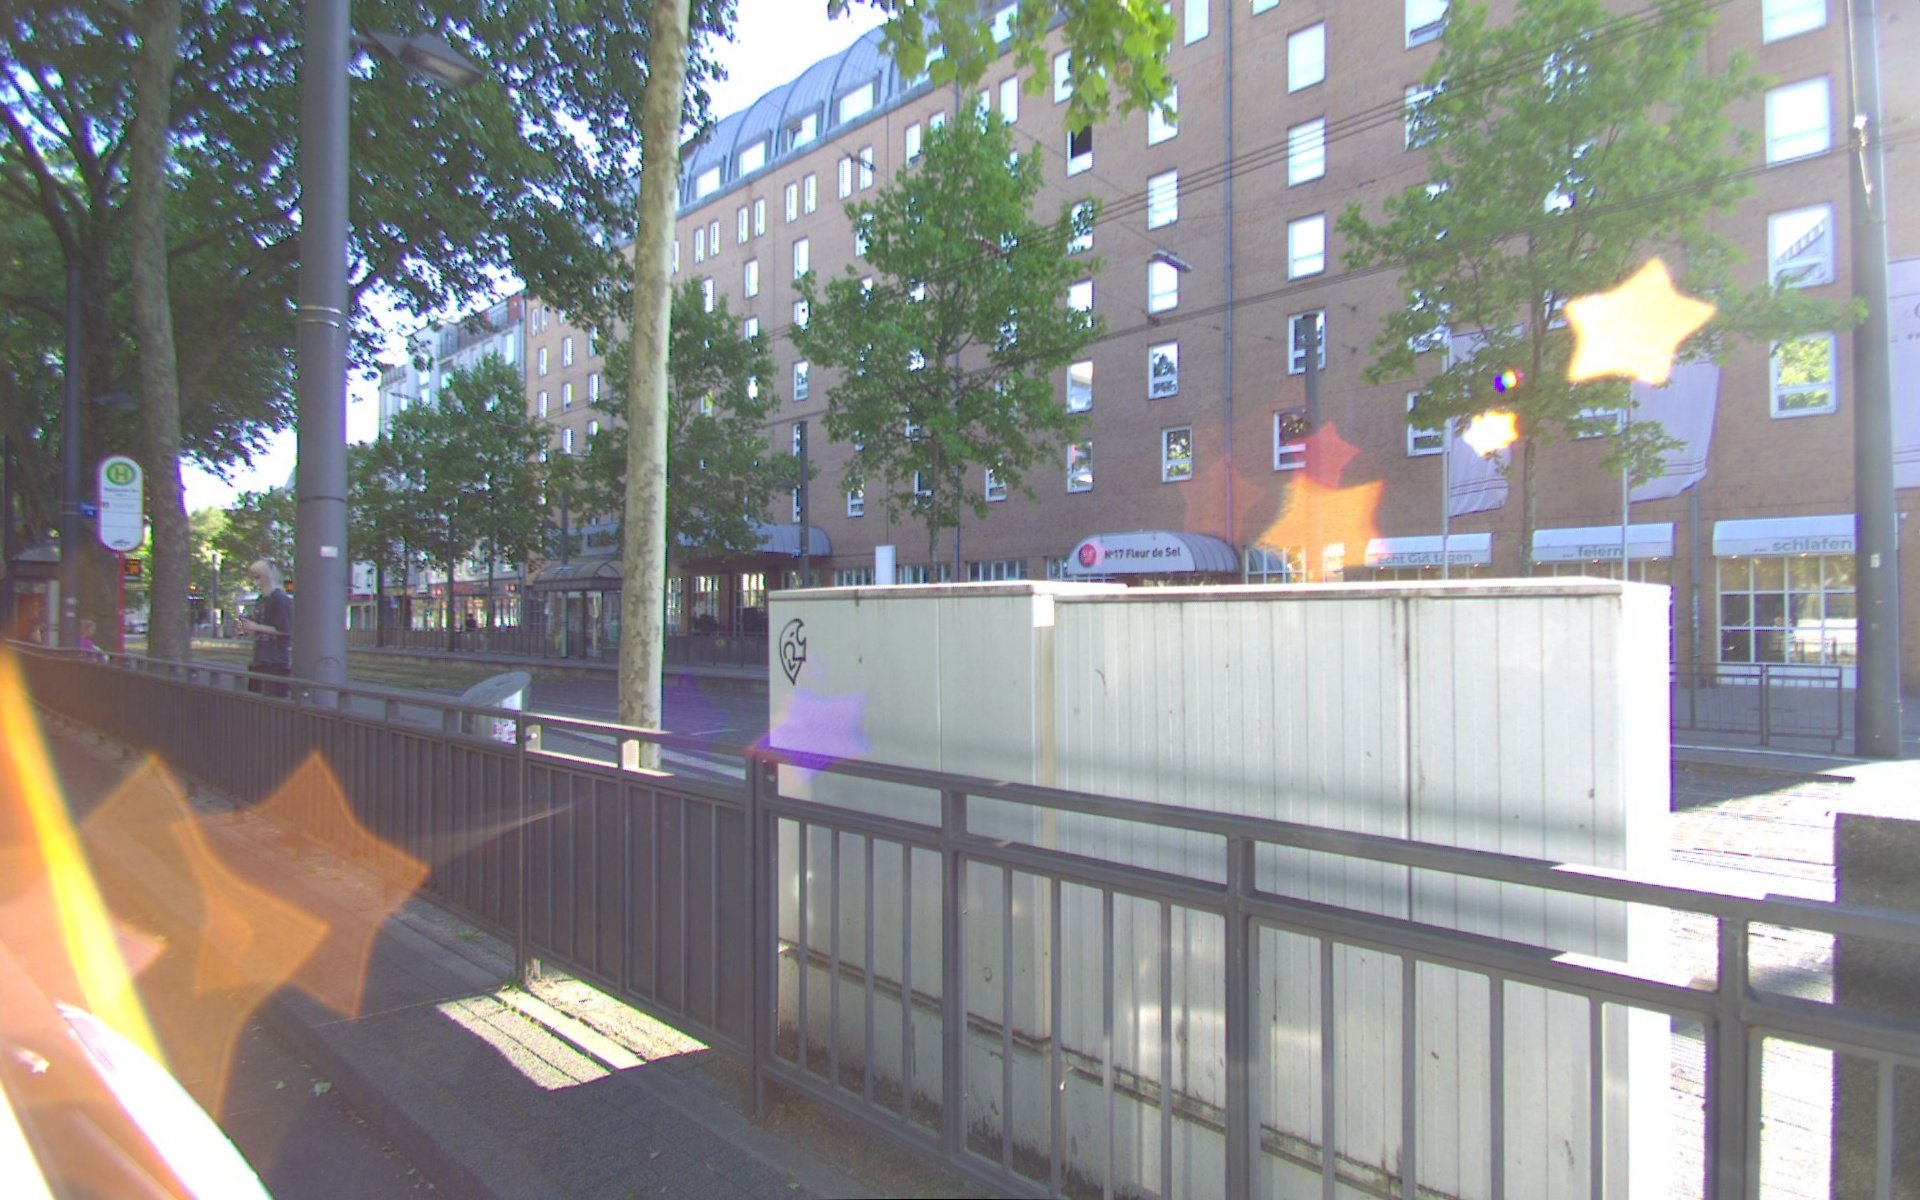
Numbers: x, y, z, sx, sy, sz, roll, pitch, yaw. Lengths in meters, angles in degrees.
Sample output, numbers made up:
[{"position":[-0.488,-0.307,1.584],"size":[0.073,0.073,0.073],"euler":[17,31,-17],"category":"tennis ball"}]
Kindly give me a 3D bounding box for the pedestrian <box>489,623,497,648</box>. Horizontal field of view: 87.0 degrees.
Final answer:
[{"position":[-28.745,2.175,62.269],"size":[0.431,1.518,0.660],"euler":[1,-2,-27],"category":"pedestrian"}]

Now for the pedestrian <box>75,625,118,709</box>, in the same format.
[{"position":[-13.957,1.067,16.355],"size":[0.493,1.325,0.419],"euler":[1,-2,-41],"category":"pedestrian"}]

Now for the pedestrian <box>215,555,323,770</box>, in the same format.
[{"position":[-6.408,0.549,9.389],"size":[0.604,1.897,0.616],"euler":[1,0,31],"category":"pedestrian"}]

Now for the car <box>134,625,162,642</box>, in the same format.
[{"position":[-98.361,4.100,122.628],"size":[3.998,2.029,1.973],"euler":[-1,-2,41],"category":"car"}]

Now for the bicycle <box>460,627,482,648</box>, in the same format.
[{"position":[-23.835,1.841,49.356],"size":[0.444,1.012,1.754],"euler":[2,-2,-44],"category":"bicycle"}]

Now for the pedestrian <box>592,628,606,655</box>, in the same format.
[{"position":[-19.638,2.239,55.012],"size":[0.516,1.447,0.512],"euler":[-2,-2,44],"category":"pedestrian"}]

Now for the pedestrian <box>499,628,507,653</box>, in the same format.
[{"position":[-28.216,2.487,62.501],"size":[0.431,1.532,0.660],"euler":[1,-2,-27],"category":"pedestrian"}]

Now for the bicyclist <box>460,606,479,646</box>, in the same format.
[{"position":[-23.921,1.253,49.359],"size":[0.564,1.918,0.814],"euler":[2,-2,-43],"category":"bicyclist"}]
